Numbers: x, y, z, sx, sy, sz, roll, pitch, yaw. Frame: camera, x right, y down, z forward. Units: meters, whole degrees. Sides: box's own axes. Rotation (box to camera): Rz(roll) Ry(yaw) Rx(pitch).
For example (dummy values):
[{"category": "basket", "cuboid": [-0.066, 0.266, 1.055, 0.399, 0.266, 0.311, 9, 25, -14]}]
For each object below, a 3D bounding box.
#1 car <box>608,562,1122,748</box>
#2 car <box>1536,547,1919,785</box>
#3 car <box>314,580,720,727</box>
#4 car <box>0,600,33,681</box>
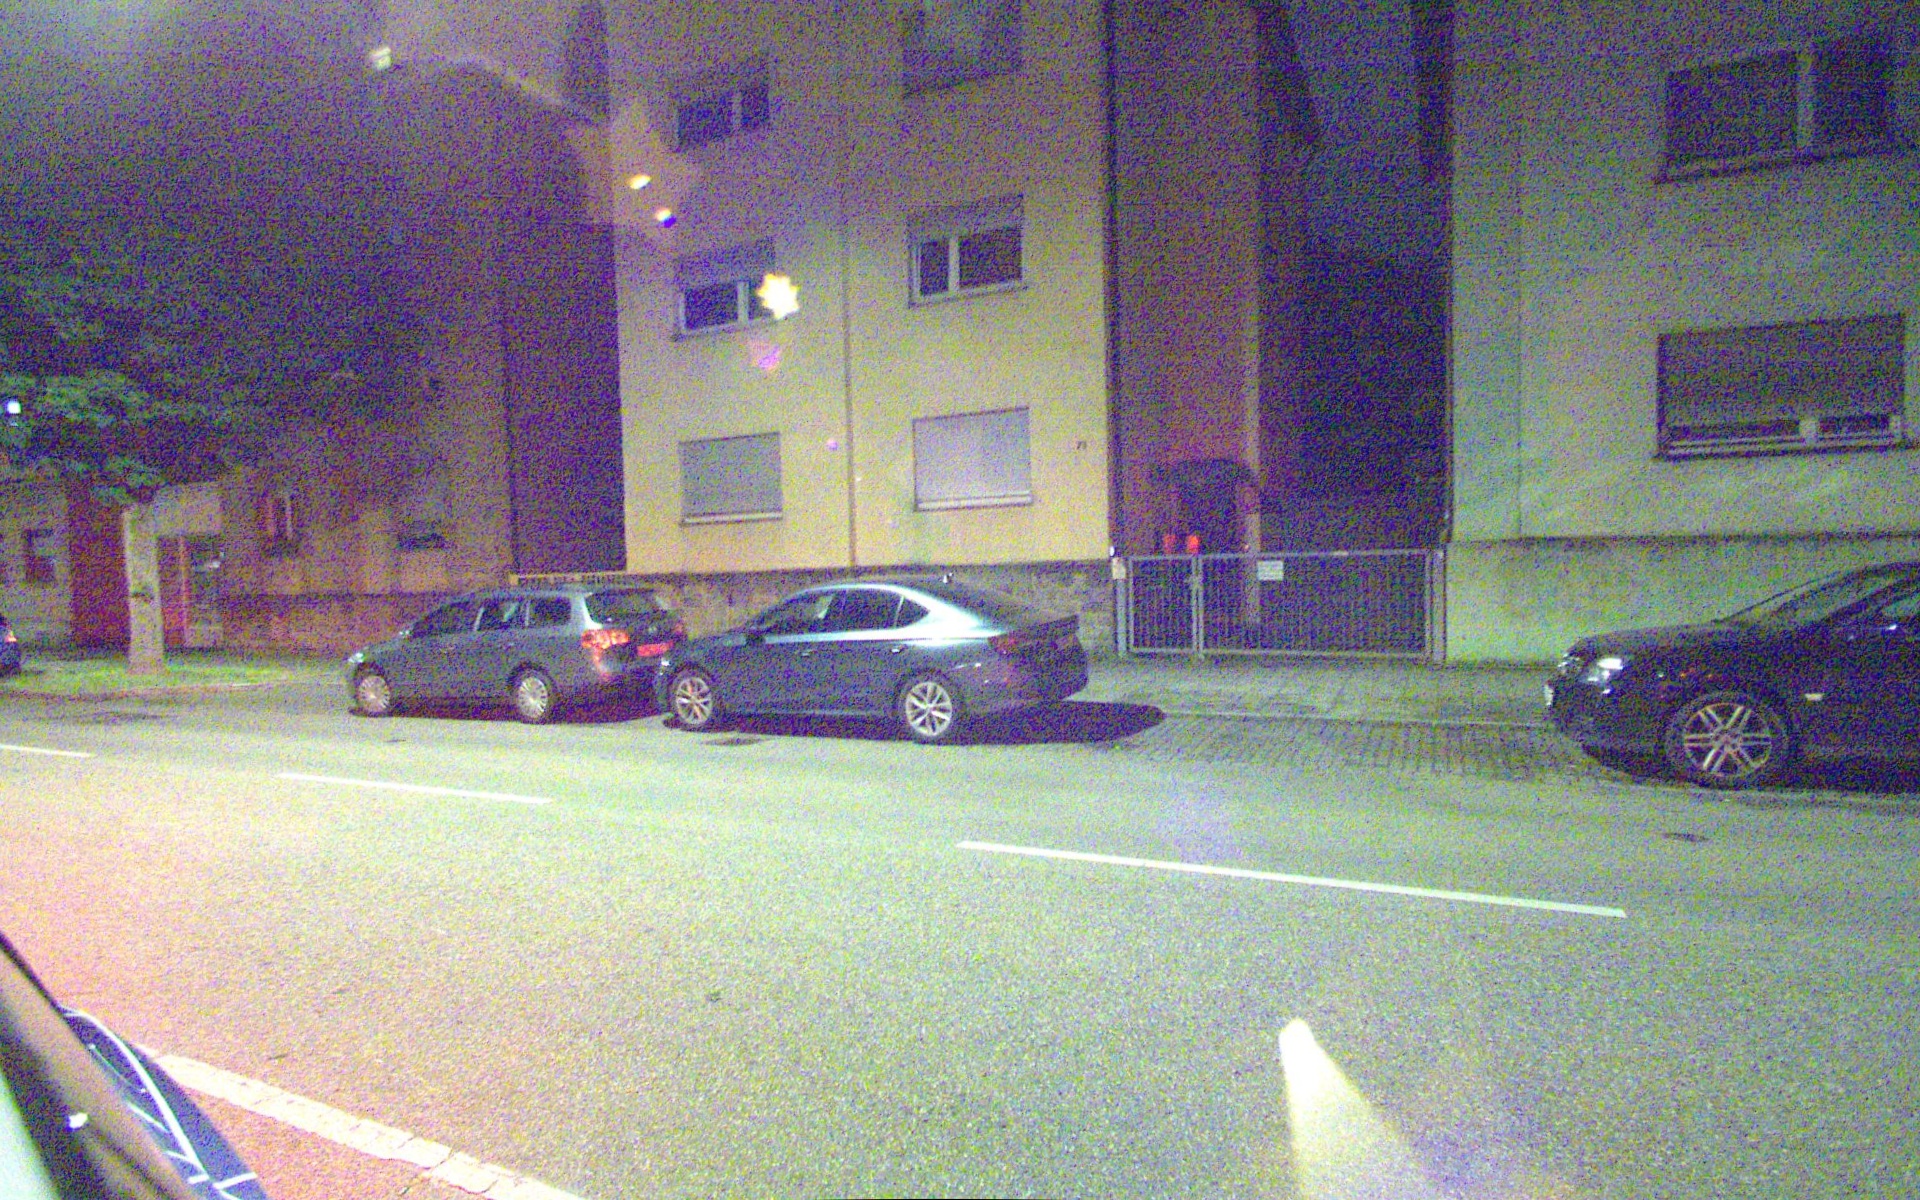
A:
[{"category": "car", "cuboid": [-0.999, 0.456, 9.968, 4.837, 1.497, 1.759, -1, 1, 26]}, {"category": "car", "cuboid": [6.329, 0.361, 6.457, 4.424, 1.393, 1.615, -1, 1, 24]}, {"category": "car", "cuboid": [-5.362, 0.564, 12.156, 4.739, 1.497, 1.759, -1, 1, 25]}, {"category": "car", "cuboid": [-20.028, 0.823, 19.579, 3.968, 1.505, 1.705, -1, 2, 26]}]
